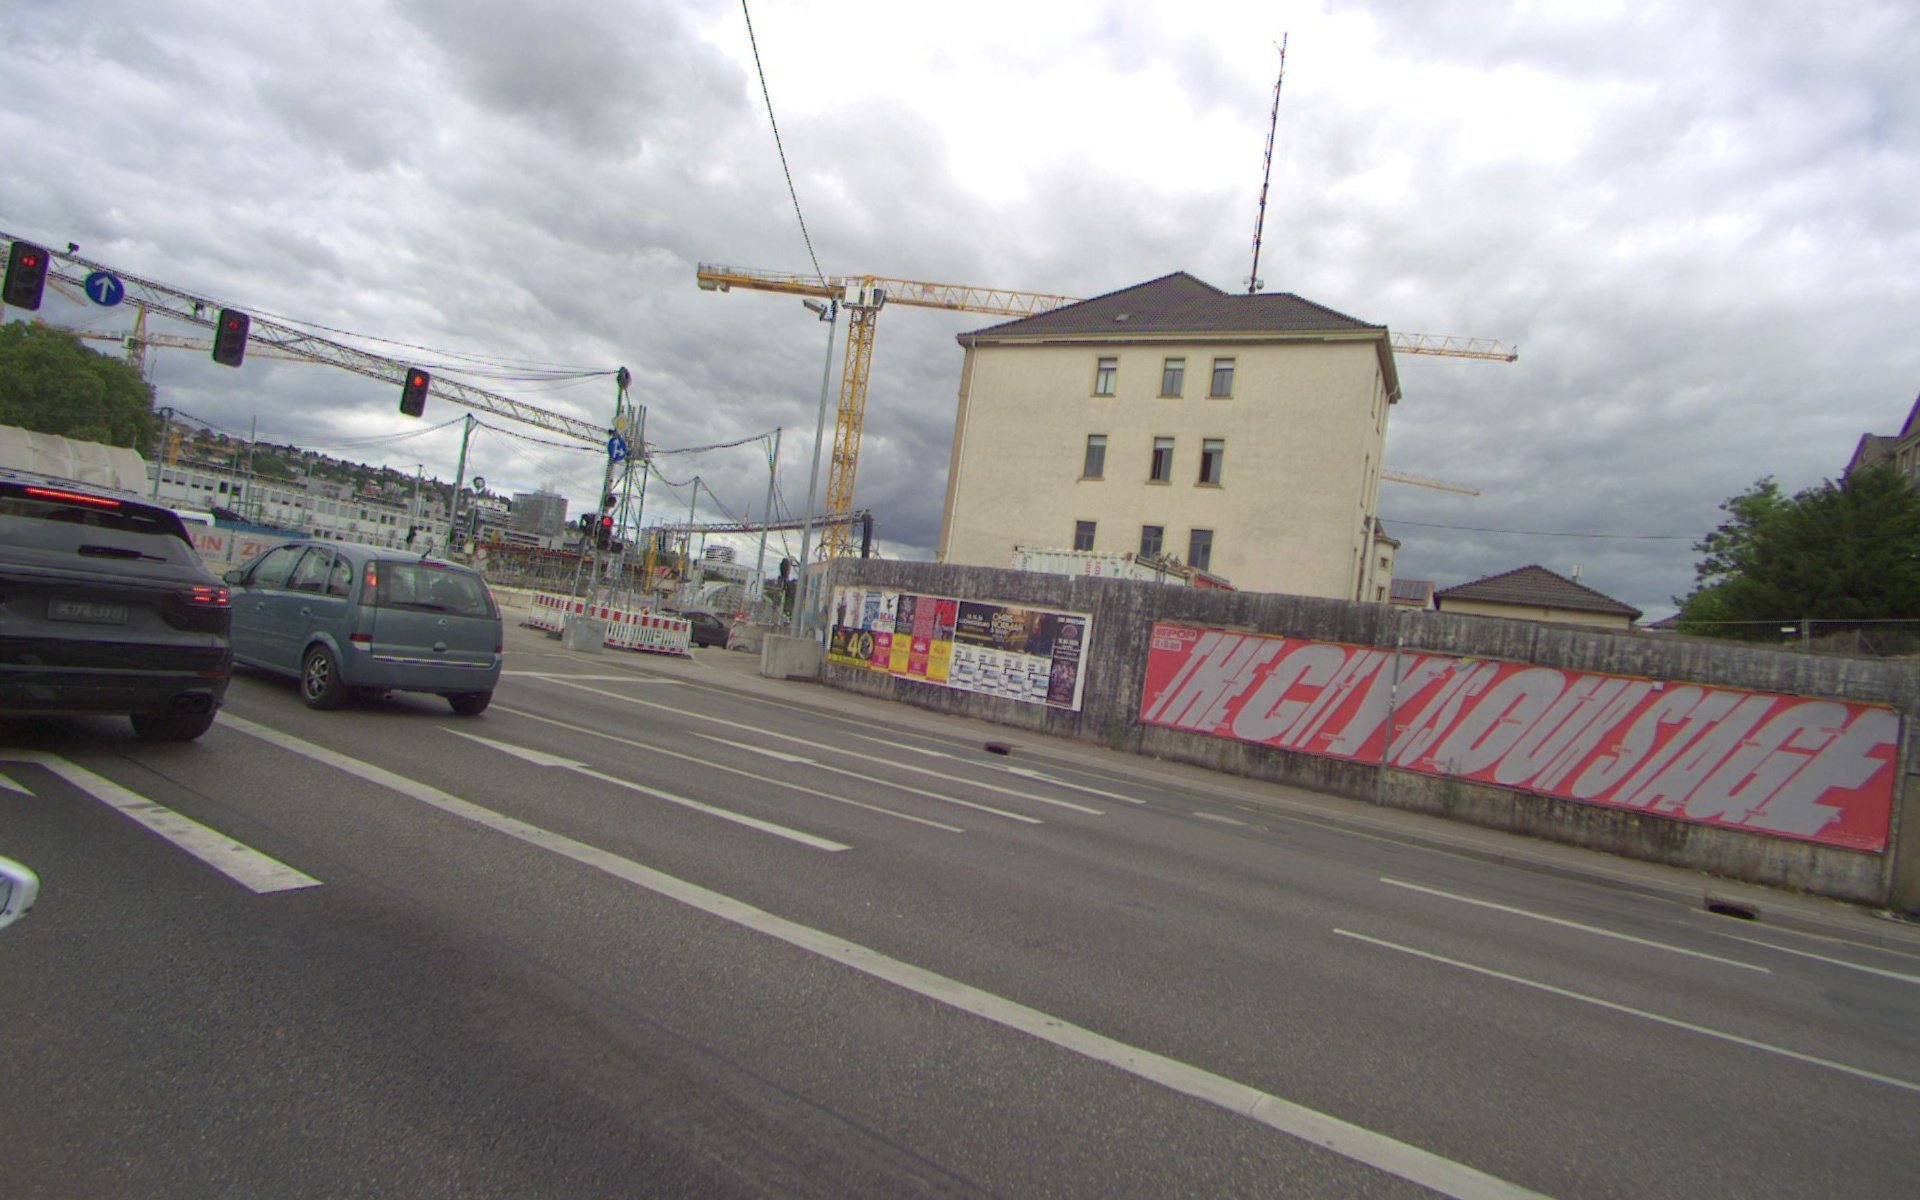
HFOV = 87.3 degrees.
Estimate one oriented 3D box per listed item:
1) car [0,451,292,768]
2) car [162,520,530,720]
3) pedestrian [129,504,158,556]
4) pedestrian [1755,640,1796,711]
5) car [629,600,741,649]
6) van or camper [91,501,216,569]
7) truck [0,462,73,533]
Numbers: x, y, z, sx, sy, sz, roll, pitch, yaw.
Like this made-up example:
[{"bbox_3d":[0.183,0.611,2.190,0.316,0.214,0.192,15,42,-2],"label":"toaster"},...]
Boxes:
[{"bbox_3d":[-6.917,-0.126,6.951,4.558,1.705,1.960,7,-2,32],"label":"car"},{"bbox_3d":[-6.609,0.179,10.747,3.817,1.561,1.667,7,-2,32],"label":"car"},{"bbox_3d":[-33.746,-2.899,41.568,0.648,2.037,0.513,8,-1,-35],"label":"pedestrian"},{"bbox_3d":[24.618,2.289,30.368,0.655,2.037,0.646,7,-1,26],"label":"pedestrian"},{"bbox_3d":[-11.388,1.057,41.860,1.970,1.436,3.990,7,-3,38],"label":"car"},{"bbox_3d":[-37.717,-3.014,47.099,1.975,2.384,4.206,6,-3,45],"label":"van or camper"},{"bbox_3d":[-66.112,-7.494,65.068,3.875,4.086,13.089,8,-2,11],"label":"truck"}]
